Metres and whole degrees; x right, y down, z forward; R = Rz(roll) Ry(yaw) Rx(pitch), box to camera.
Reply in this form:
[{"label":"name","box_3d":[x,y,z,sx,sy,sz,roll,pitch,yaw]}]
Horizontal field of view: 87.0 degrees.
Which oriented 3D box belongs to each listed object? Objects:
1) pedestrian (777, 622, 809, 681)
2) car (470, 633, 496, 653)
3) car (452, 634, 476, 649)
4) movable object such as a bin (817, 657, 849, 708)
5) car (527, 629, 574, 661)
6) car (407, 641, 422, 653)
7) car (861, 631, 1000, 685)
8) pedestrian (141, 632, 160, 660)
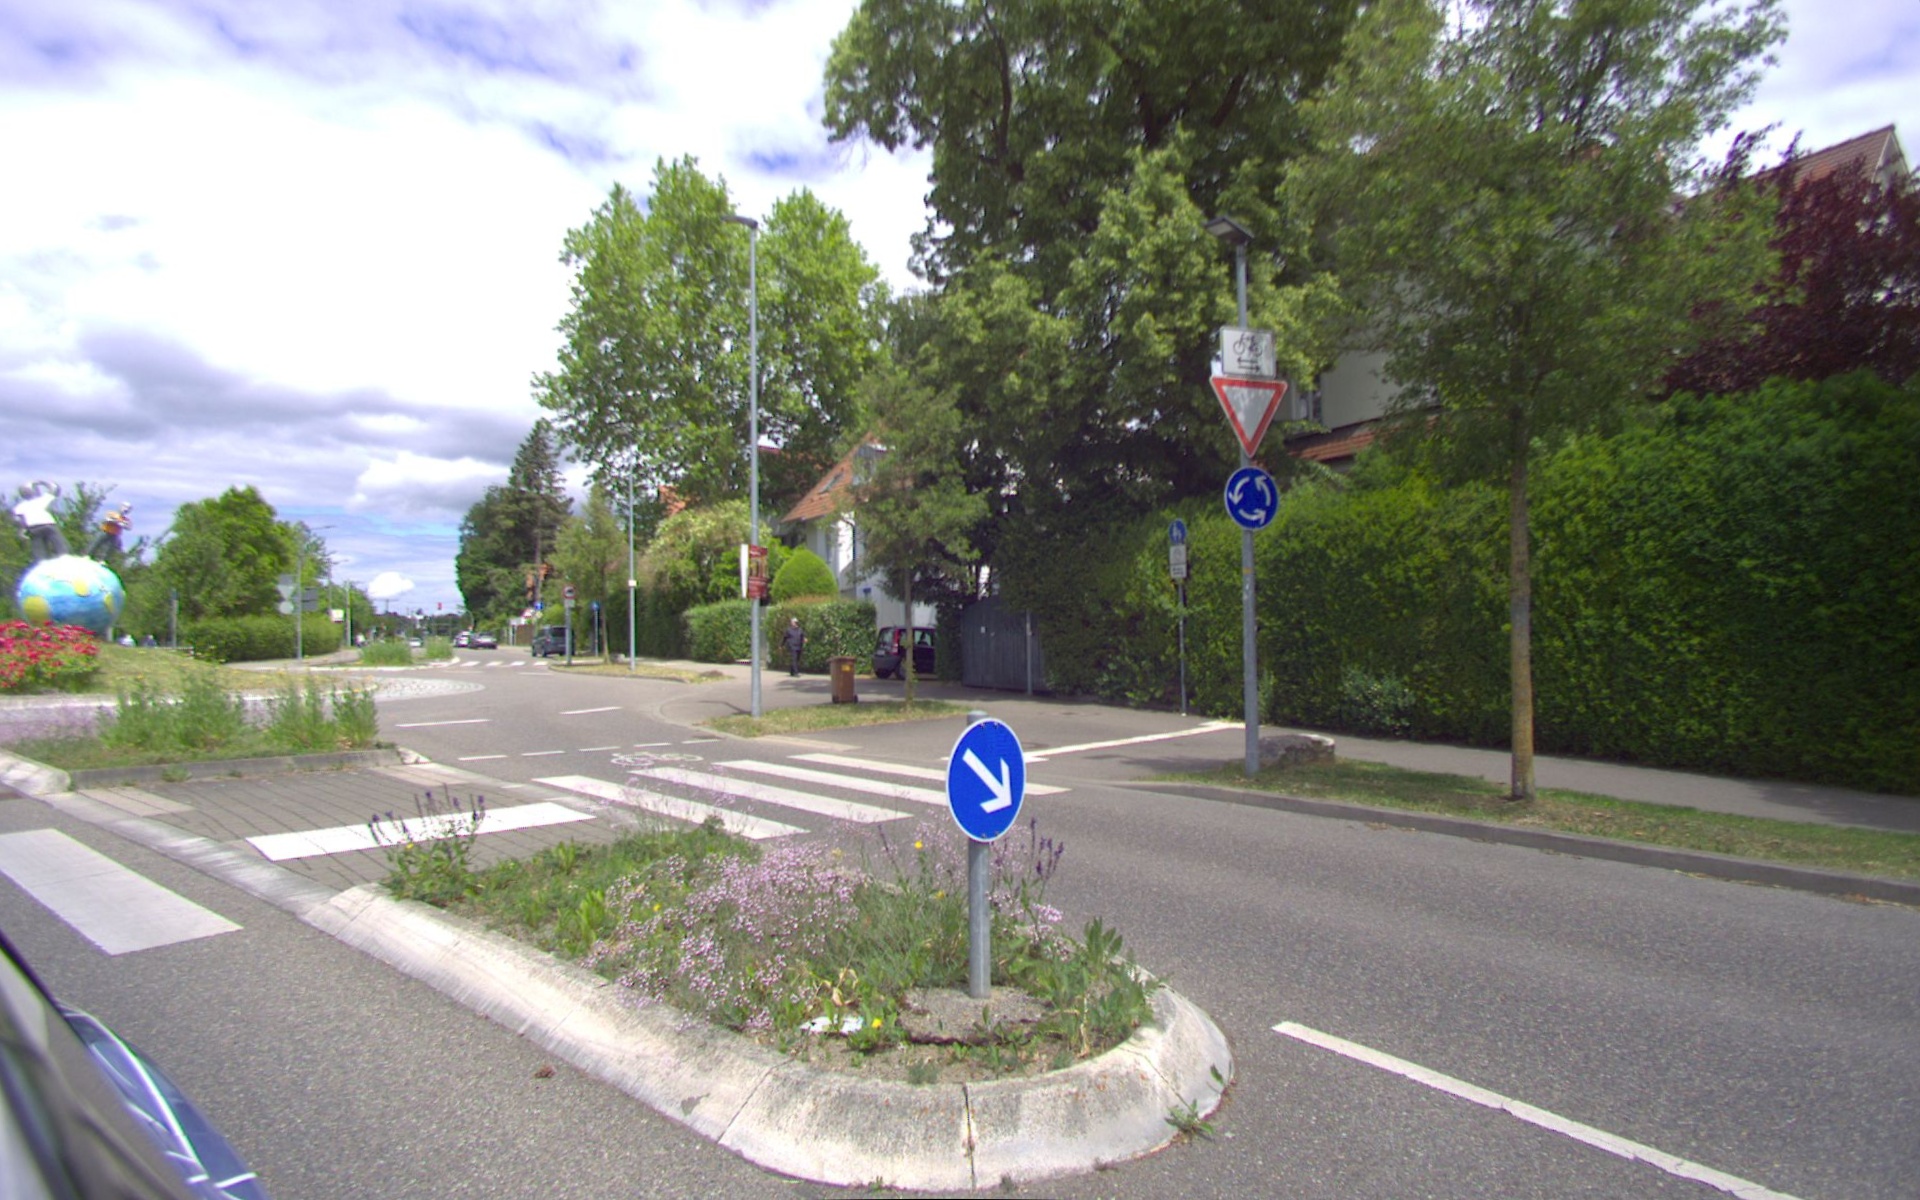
[{"label":"pedestrian","box_3d":[-4.929,1.499,29.820,0.733,1.704,0.697,-1,-1,-28]},{"label":"car","box_3d":[-42.319,3.799,89.688,1.832,1.589,4.012,-1,-1,-29]},{"label":"car","box_3d":[-57.339,4.821,117.032,1.966,1.719,4.010,2,-3,-34]},{"label":"movable object such as a bin","box_3d":[-2.408,1.564,19.227,0.411,0.942,0.436,-1,-3,33]},{"label":"car","box_3d":[-22.630,2.427,55.800,1.653,1.674,4.011,1,-2,-33]},{"label":"car","box_3d":[-86.016,7.391,159.639,1.965,1.719,4.012,1,-2,-28]},{"label":"car","box_3d":[-0.832,1.650,28.790,3.517,1.408,1.670,3,-3,-28]},{"label":"pedestrian","box_3d":[-45.206,2.556,56.513,0.602,1.569,0.753,-2,-3,44]}]
